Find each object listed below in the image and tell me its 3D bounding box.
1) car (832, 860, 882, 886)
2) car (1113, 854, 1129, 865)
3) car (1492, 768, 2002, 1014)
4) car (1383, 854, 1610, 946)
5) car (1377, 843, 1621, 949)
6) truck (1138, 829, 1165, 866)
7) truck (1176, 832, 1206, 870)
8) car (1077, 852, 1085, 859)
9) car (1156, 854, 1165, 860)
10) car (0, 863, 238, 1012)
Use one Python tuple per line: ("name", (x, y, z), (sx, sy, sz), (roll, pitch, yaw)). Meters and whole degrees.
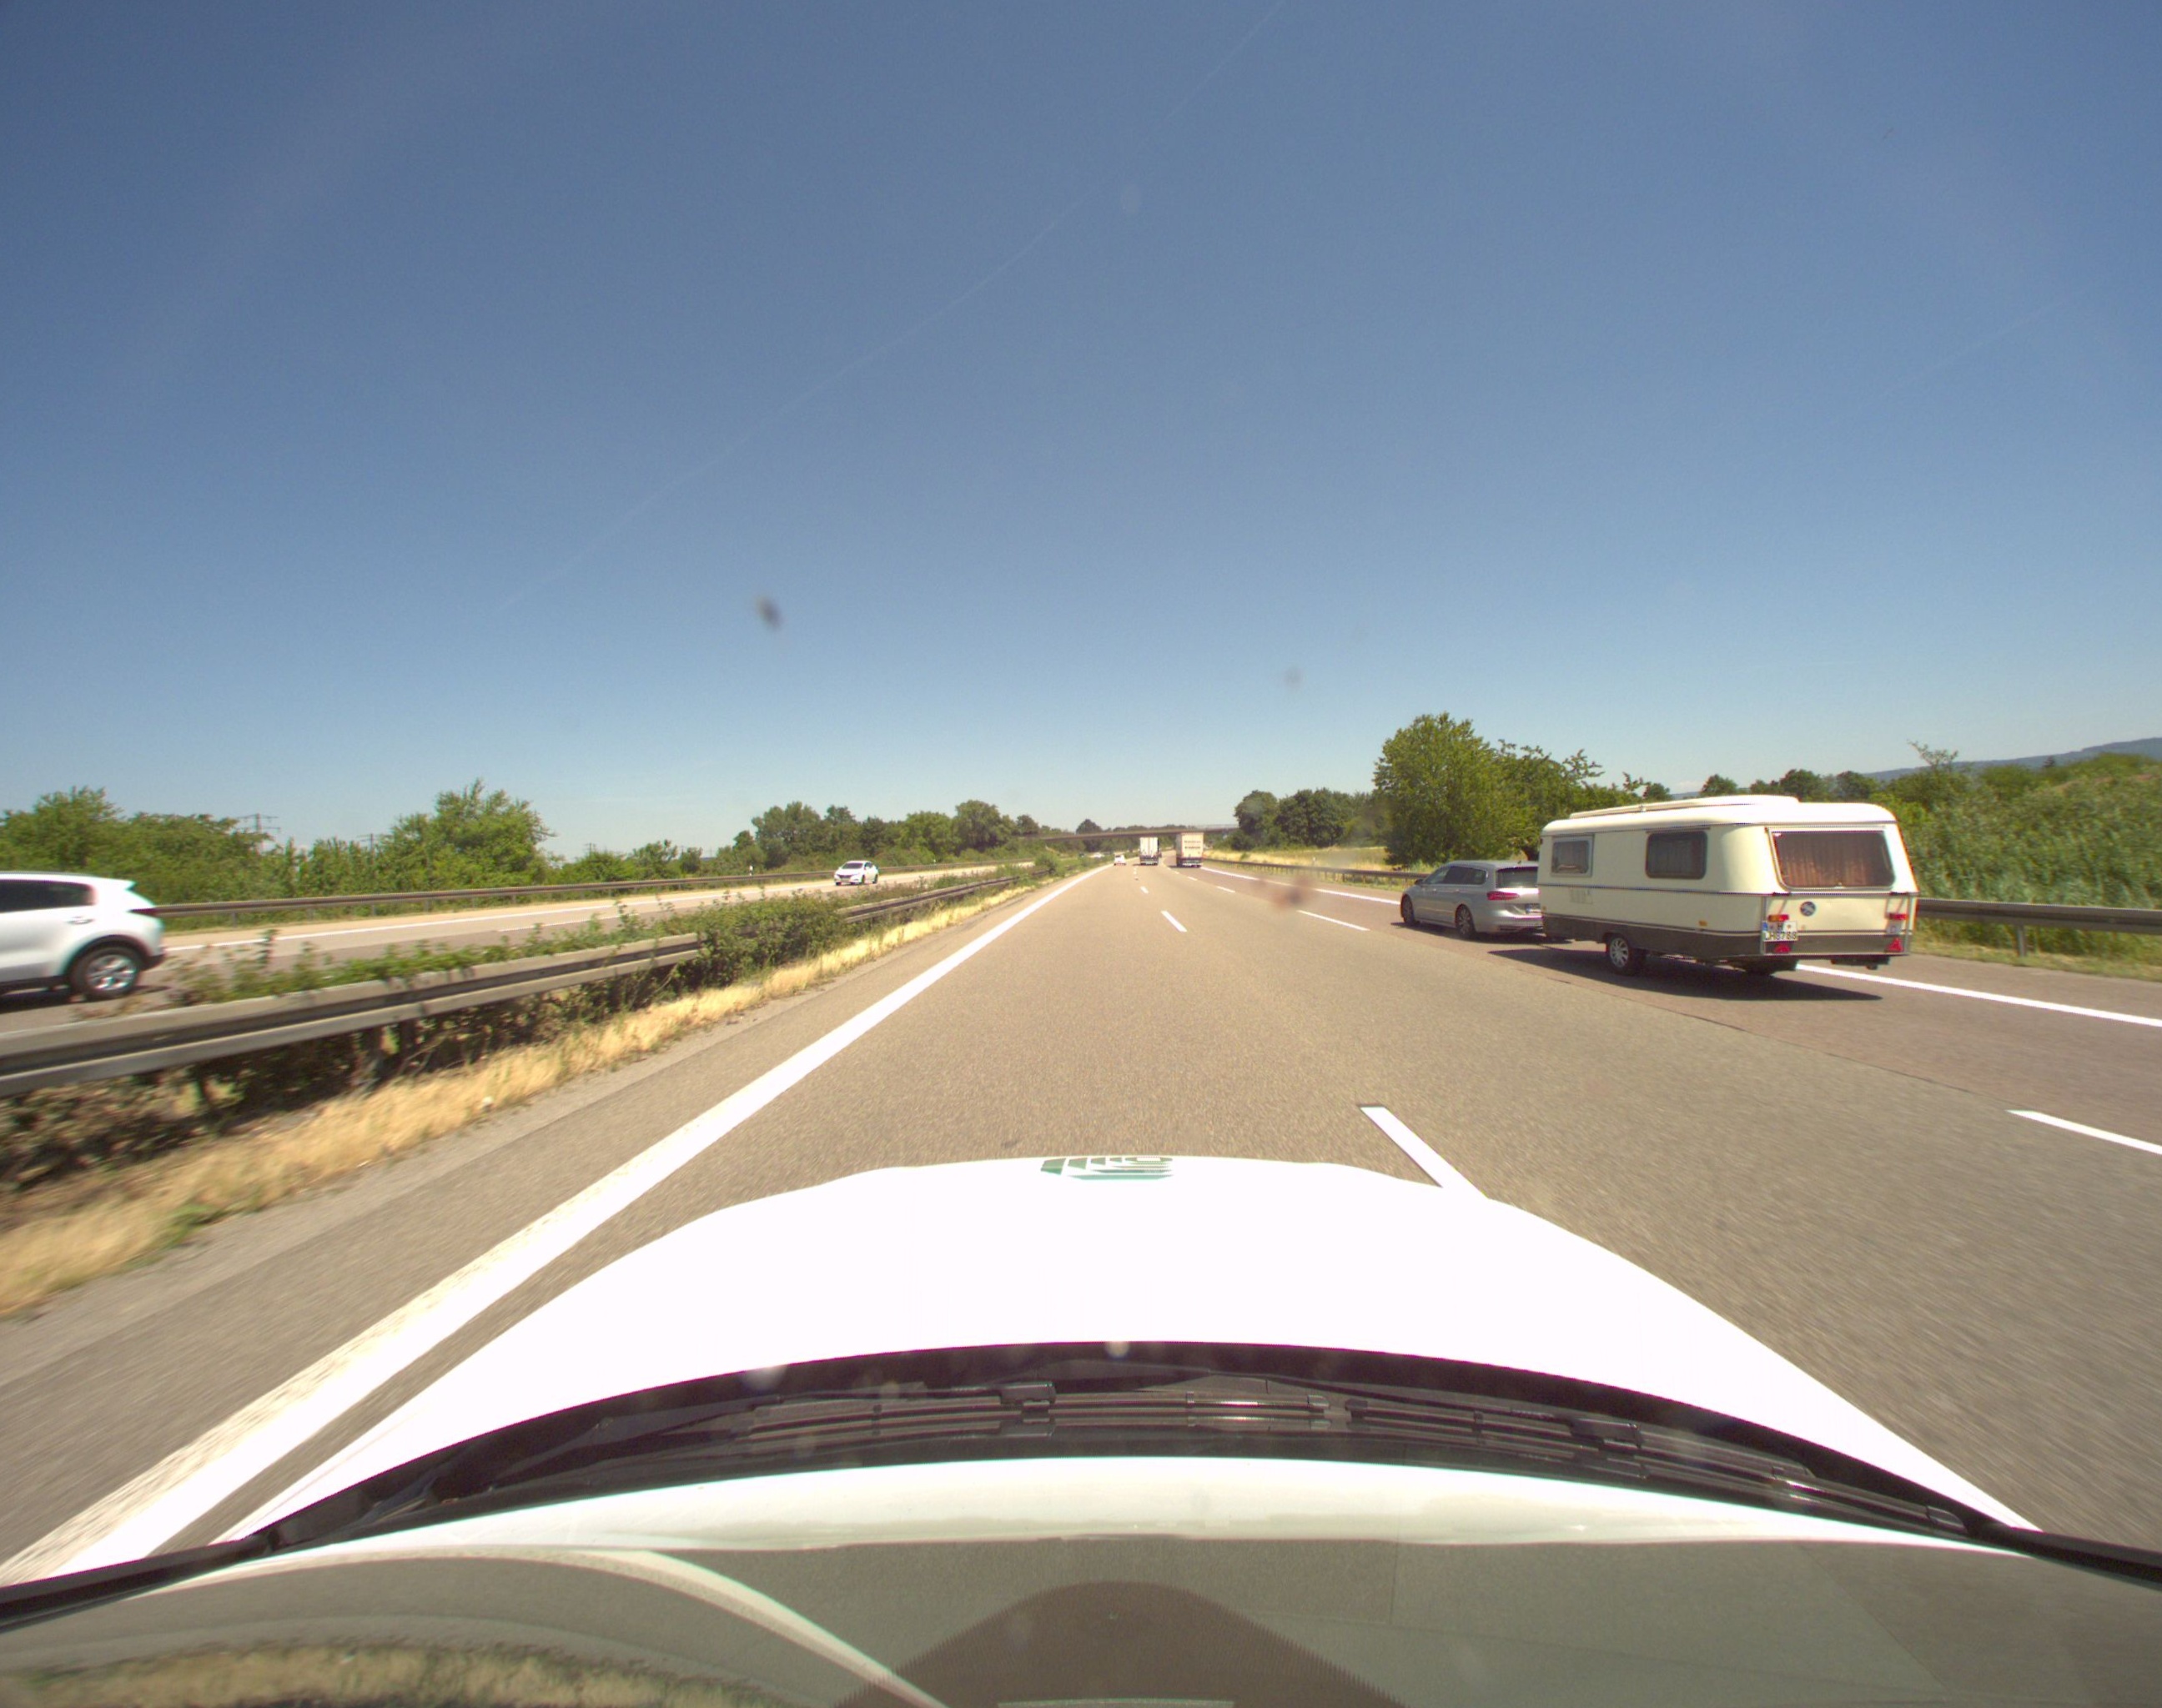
("car", (-14.654, 1.187, 53.481), (1.740, 1.540, 4.831), (0, 1, 3))
("car", (5.776, 0.814, 118.553), (1.817, 1.547, 4.330), (0, 0, 9))
("car", (7.867, 0.317, 10.645), (2.433, 2.321, 5.325), (-2, 1, 2))
("car", (7.889, 0.762, 16.209), (1.880, 1.515, 5.381), (0, 0, 1))
("car", (7.942, 0.663, 16.272), (2.038, 1.658, 5.509), (-2, 1, 0))
("truck", (10.344, -0.996, 119.041), (3.649, 5.018, 16.041), (-1, 1, 5))
("truck", (13.582, -0.484, 101.709), (3.165, 4.304, 16.043), (-1, 1, 6))
("car", (-0.068, 0.421, 215.533), (1.774, 1.661, 4.662), (-1, 0, 4))
("car", (20.528, 0.662, 210.416), (1.817, 1.547, 4.330), (0, 0, 9))
("car", (-13.124, 0.966, 9.312), (1.781, 1.680, 4.902), (-1, -1, 1))
